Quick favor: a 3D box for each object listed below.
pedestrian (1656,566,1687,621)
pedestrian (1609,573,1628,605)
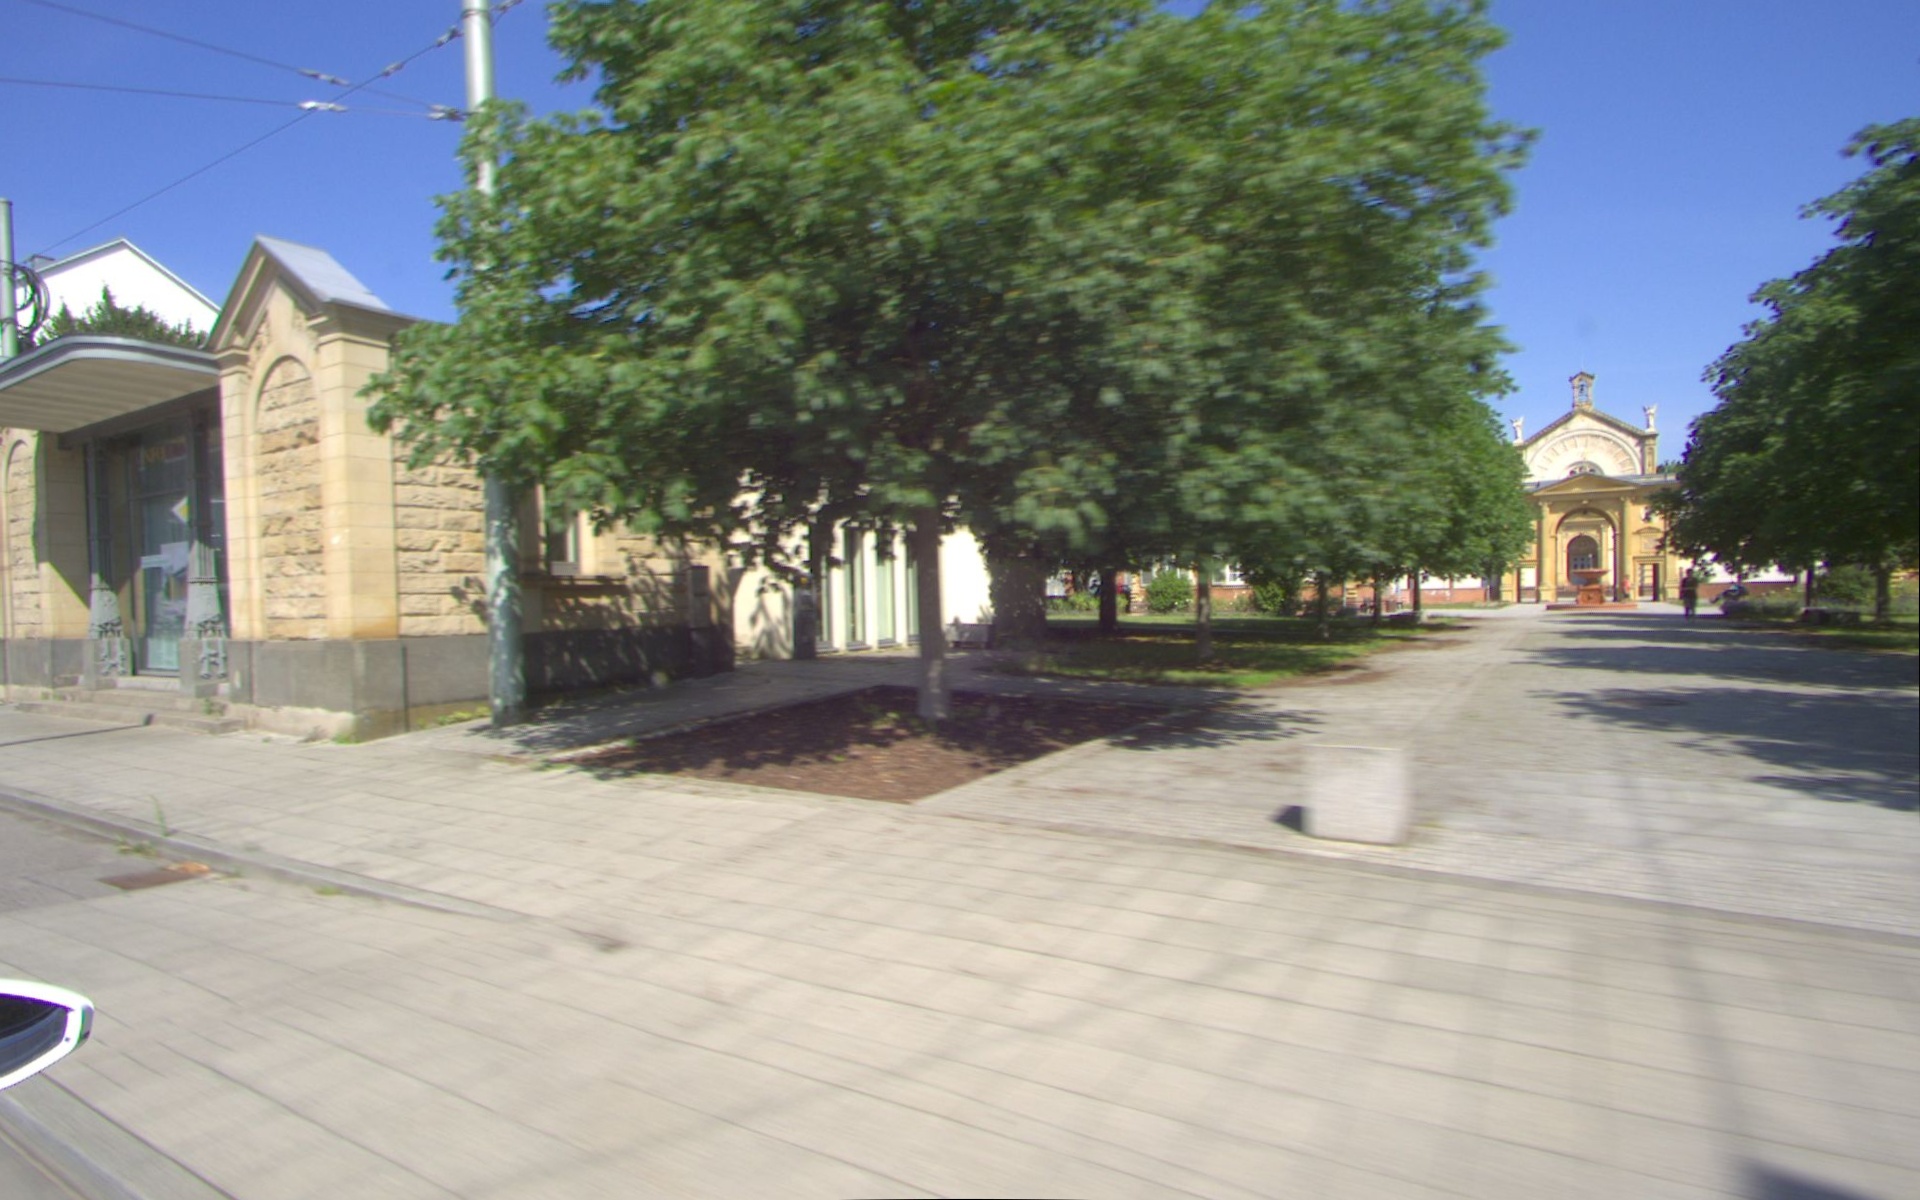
[{"bbox_3d":[21.361,-0.190,30.071,0.679,1.622,0.863,0,2,32],"label":"pedestrian"},{"bbox_3d":[34.555,-0.581,52.576,0.734,1.622,0.619,-1,2,26],"label":"pedestrian"}]
